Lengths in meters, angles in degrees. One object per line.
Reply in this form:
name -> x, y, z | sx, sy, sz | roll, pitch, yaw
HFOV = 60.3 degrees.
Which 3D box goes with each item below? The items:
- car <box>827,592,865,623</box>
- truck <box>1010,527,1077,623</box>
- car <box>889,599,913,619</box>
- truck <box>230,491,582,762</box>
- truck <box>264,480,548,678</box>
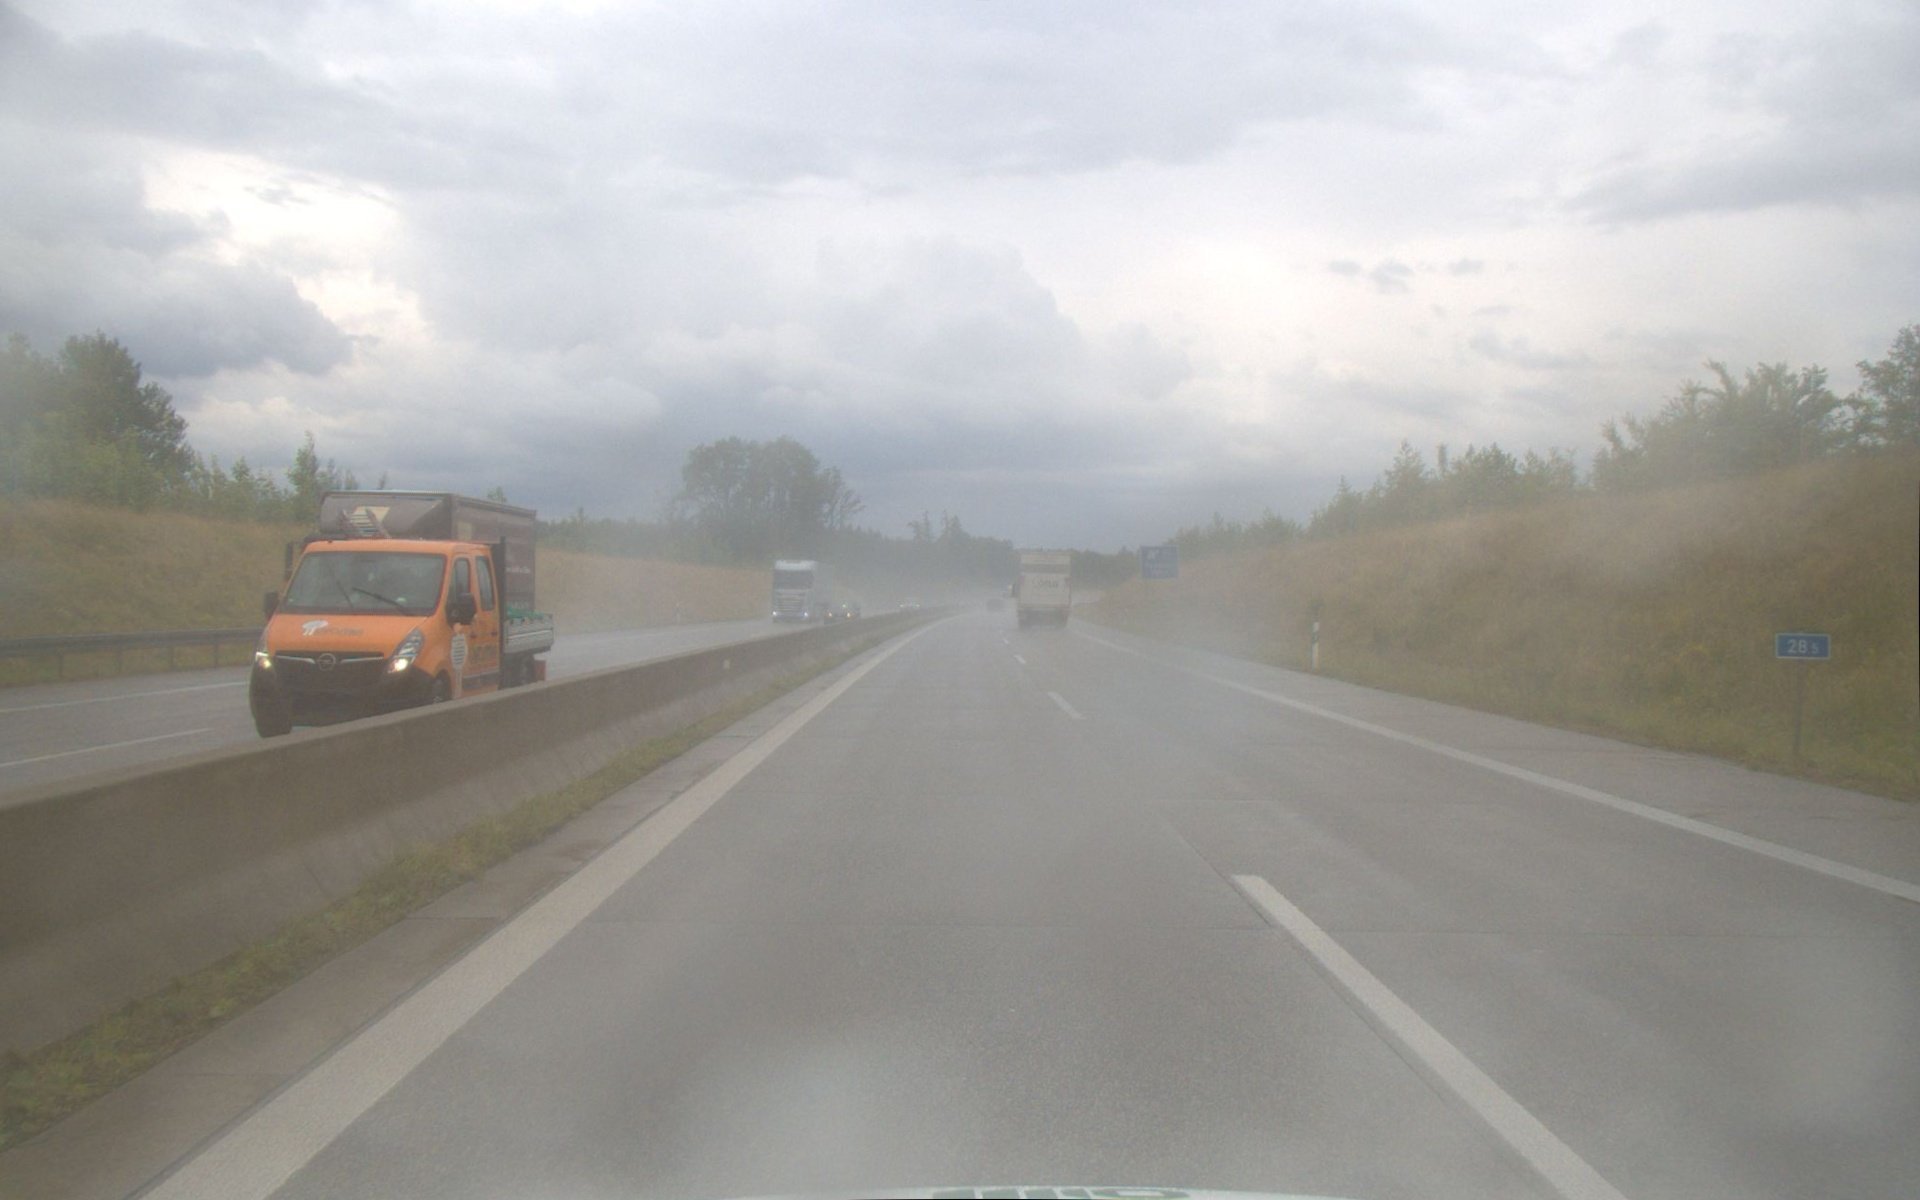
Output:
car -> -5.872, 0.362, 85.356 | 1.626, 1.512, 4.000 | -1, 0, 0
truck -> 4.107, -1.262, 82.912 | 3.176, 4.514, 8.248 | 0, 1, 2
car -> -5.312, 0.822, 149.323 | 1.952, 1.545, 4.190 | -1, 2, 1
truck -> -6.500, 0.274, 20.396 | 2.285, 2.831, 6.160 | 0, 0, 0
truck -> -11.144, -0.393, 34.334 | 3.103, 3.595, 8.364 | 0, 0, 0
